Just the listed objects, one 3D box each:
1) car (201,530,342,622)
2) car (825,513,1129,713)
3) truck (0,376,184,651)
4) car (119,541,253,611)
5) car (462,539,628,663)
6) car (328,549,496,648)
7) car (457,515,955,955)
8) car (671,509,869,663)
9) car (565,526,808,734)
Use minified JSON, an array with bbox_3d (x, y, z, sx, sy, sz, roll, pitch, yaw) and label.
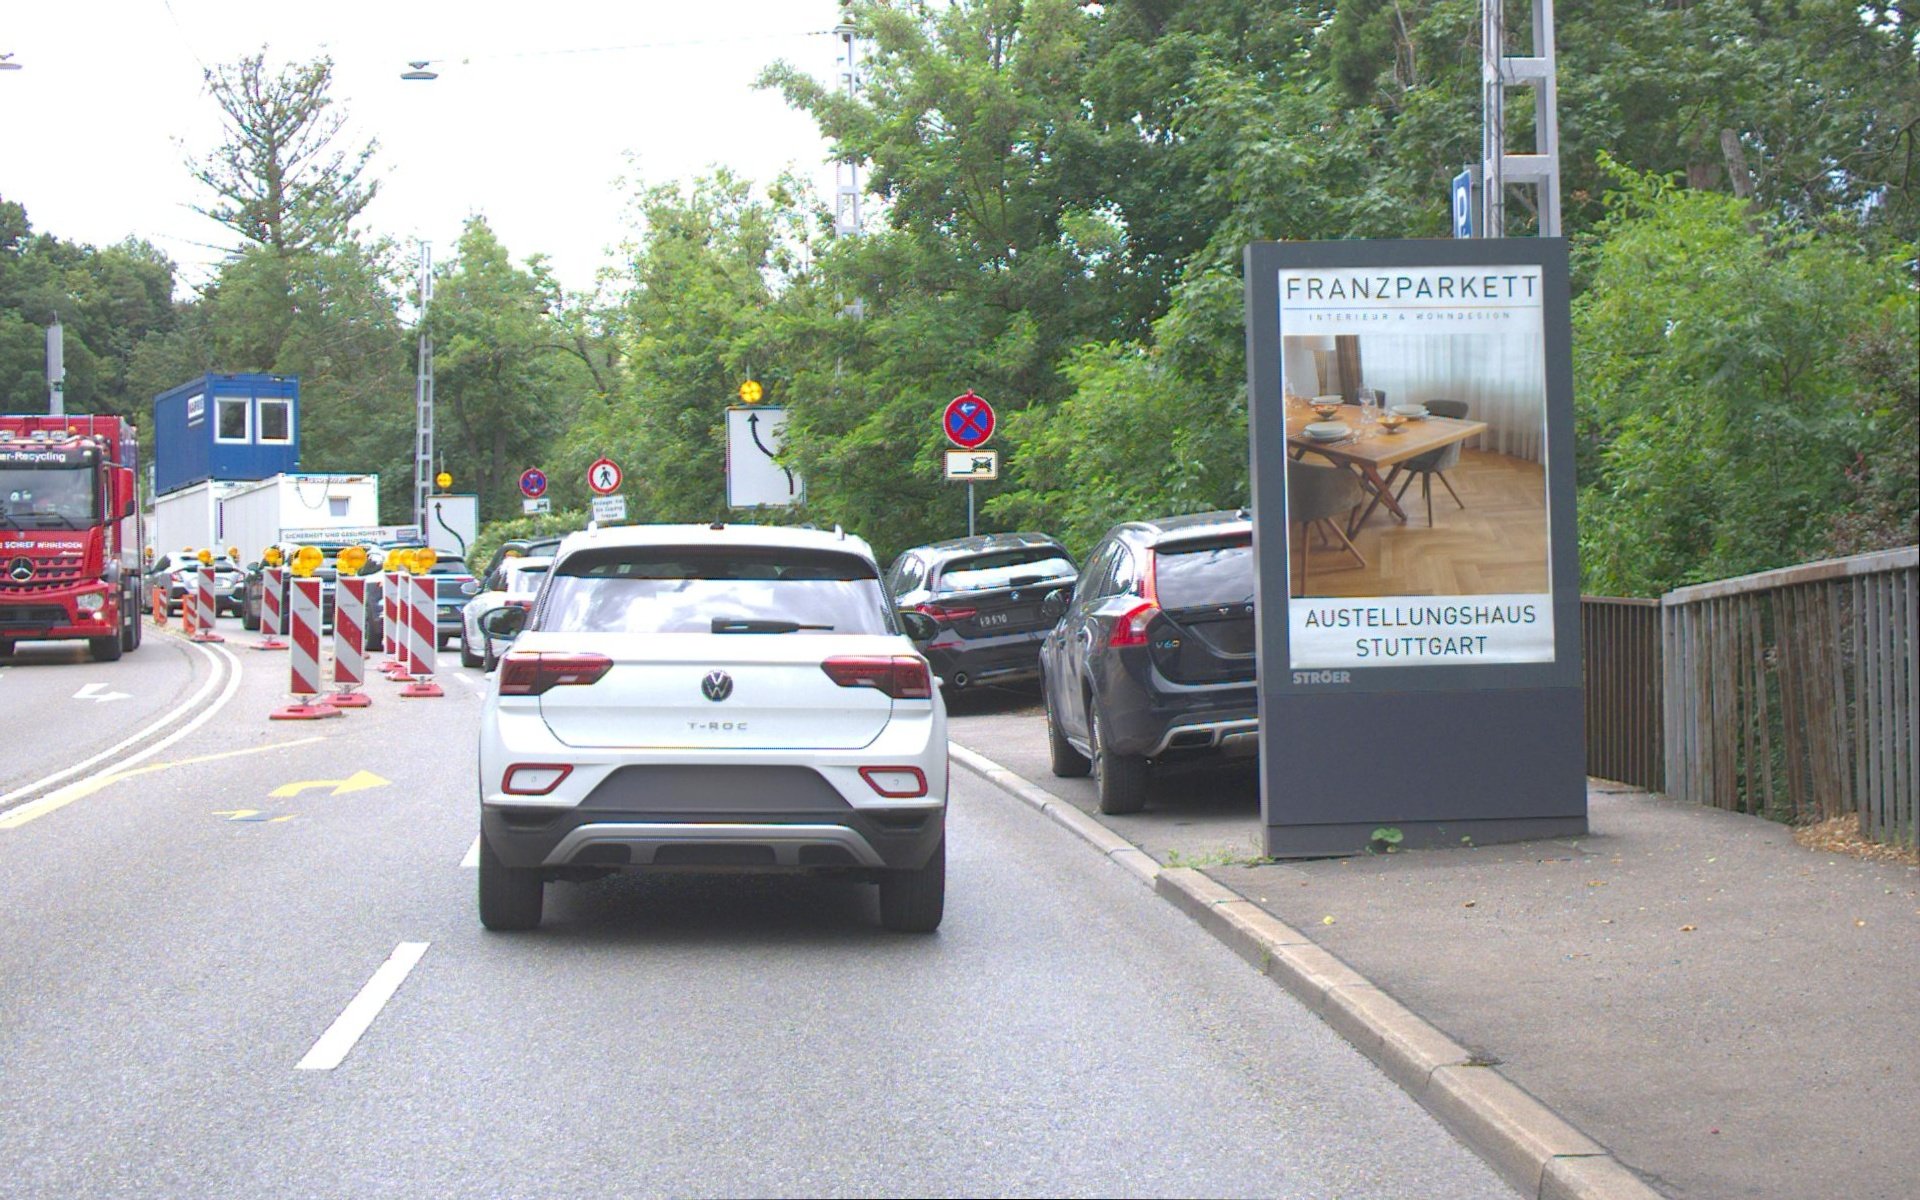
[{"bbox_3d":[-12.583,-0.467,62.666,1.993,1.551,4.152,-1,2,-18],"label":"car"},{"bbox_3d":[0.069,0.067,30.450,1.807,1.458,4.195,-6,2,-10],"label":"car"},{"bbox_3d":[-13.674,-1.254,52.001,2.944,3.685,9.921,-3,1,-9],"label":"truck"},{"bbox_3d":[-17.111,-0.518,75.880,1.993,1.445,4.151,-2,1,-25],"label":"car"},{"bbox_3d":[-5.231,-0.022,43.029,1.757,1.466,3.796,-1,1,-11],"label":"car"},{"bbox_3d":[-8.567,-0.012,53.490,1.993,1.409,4.151,-2,0,-17],"label":"car"},{"bbox_3d":[-0.967,0.445,14.119,1.757,1.550,3.796,0,1,-2],"label":"car"},{"bbox_3d":[-2.529,-0.216,44.856,1.849,1.651,4.143,-9,3,-10],"label":"car"},{"bbox_3d":[-2.343,0.198,28.689,1.757,1.604,3.796,-1,1,-8],"label":"car"}]
